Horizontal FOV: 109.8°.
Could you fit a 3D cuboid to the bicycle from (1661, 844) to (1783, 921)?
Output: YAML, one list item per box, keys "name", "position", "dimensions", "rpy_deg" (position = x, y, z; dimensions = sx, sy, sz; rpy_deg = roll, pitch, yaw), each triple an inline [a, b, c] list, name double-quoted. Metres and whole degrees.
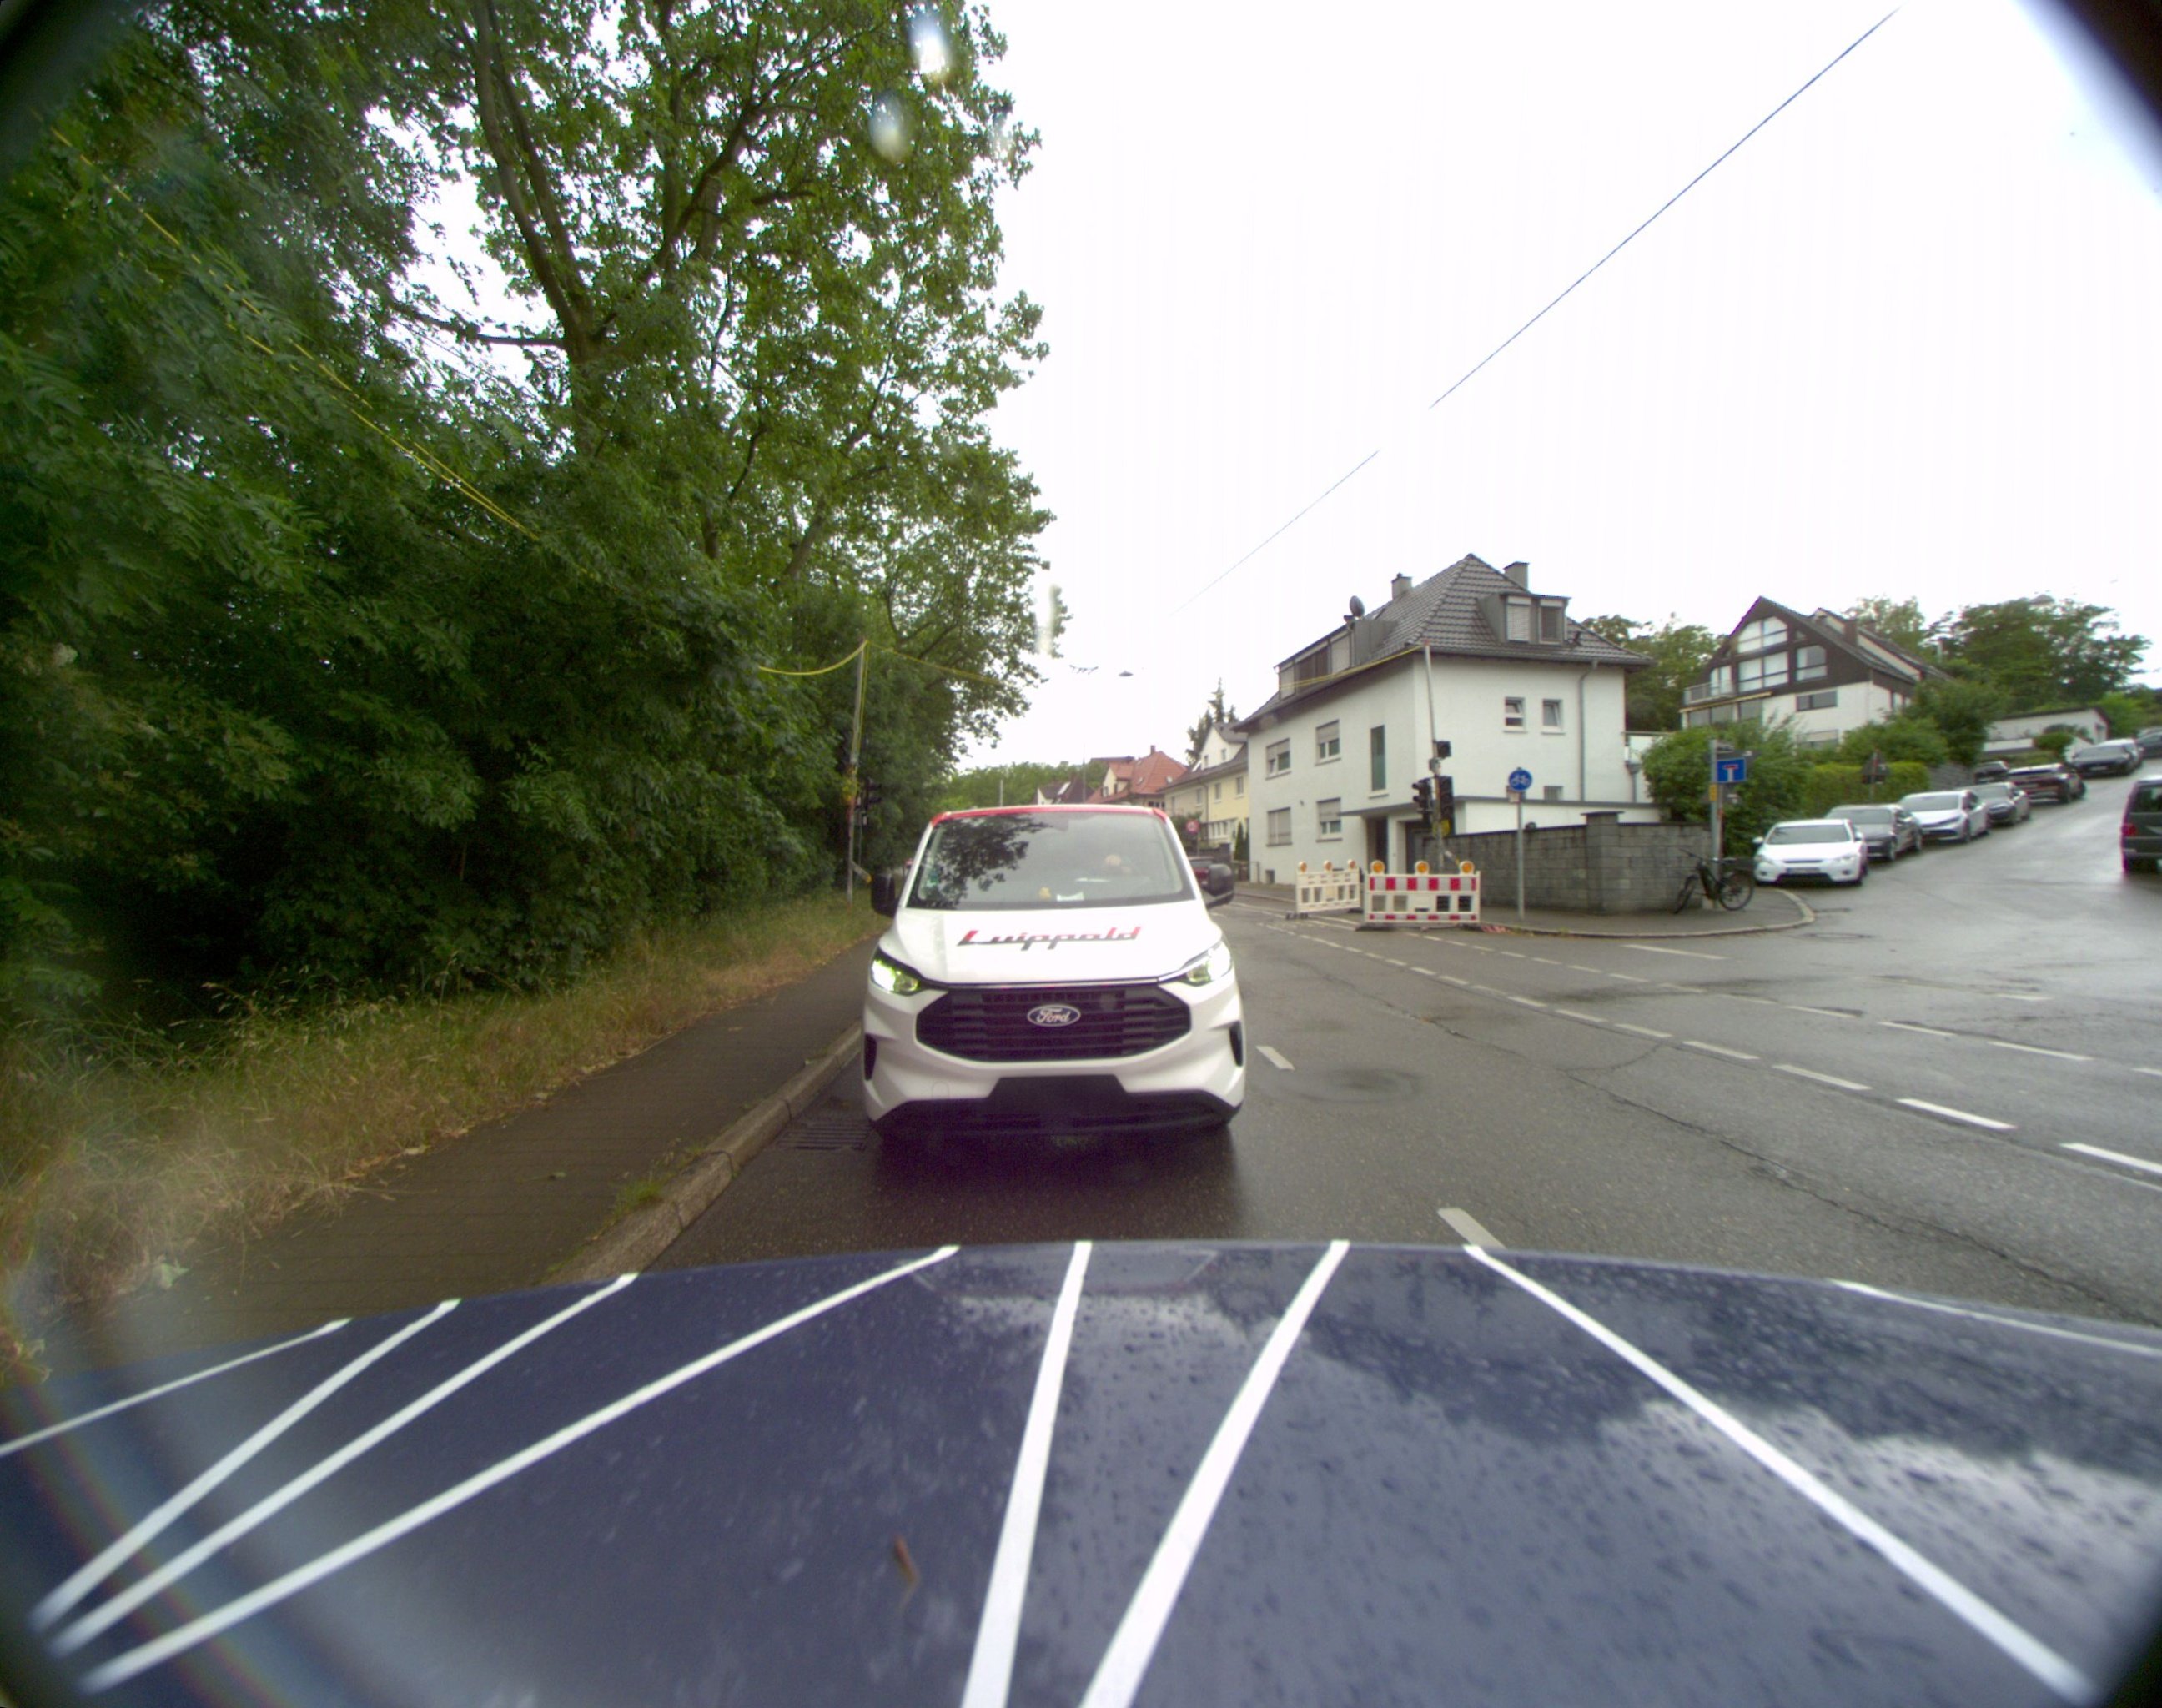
- name: "bicycle"
  position: [11.723, 0.509, 13.914]
  dimensions: [1.732, 1.304, 0.707]
  rpy_deg: [-2, 1, -7]

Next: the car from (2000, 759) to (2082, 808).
- name: "car"
  position: [40.539, -2.975, 32.058]
  dimensions: [3.988, 1.547, 1.333]
  rpy_deg: [-9, 3, -26]

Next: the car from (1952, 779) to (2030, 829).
- name: "car"
  position: [32.224, -1.793, 26.890]
  dimensions: [3.508, 1.383, 1.333]
  rpy_deg: [-8, 4, -32]

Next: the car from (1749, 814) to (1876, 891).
- name: "car"
  position: [17.587, -0.054, 18.225]
  dimensions: [3.566, 1.458, 1.746]
  rpy_deg: [-7, 2, -40]

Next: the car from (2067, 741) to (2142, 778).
- name: "car"
  position: [54.698, -5.055, 40.603]
  dimensions: [3.834, 1.492, 1.733]
  rpy_deg: [-9, 3, -26]

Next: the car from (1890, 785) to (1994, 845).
- name: "car"
  position: [27.259, -1.256, 24.024]
  dimensions: [3.859, 1.458, 1.579]
  rpy_deg: [-8, 4, -32]

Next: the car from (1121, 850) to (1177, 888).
- name: "car"
  position: [3.046, 0.708, 34.837]
  dimensions: [1.670, 1.579, 4.004]
  rpy_deg: [-3, -2, -8]

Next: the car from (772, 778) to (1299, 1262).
- name: "car"
  position: [-0.145, 0.647, 5.660]
  dimensions: [2.045, 1.883, 5.208]
  rpy_deg: [-2, 1, 1]

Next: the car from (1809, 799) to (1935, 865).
- name: "car"
  position: [22.513, -0.642, 21.596]
  dimensions: [3.859, 1.458, 1.700]
  rpy_deg: [-7, 2, -32]

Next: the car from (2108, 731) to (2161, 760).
- name: "car"
  position: [68.143, -6.963, 48.088]
  dimensions: [1.582, 1.492, 3.607]
  rpy_deg: [-10, 4, -34]

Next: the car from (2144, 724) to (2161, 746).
- name: "car"
  position: [81.261, -8.942, 55.748]
  dimensions: [1.624, 1.492, 3.514]
  rpy_deg: [-9, 3, -24]

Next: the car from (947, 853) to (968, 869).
- name: "car"
  position: [-15.347, 0.830, 94.039]
  dimensions: [2.001, 1.850, 4.354]
  rpy_deg: [-2, 1, -17]

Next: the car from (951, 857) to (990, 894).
- name: "car"
  position: [-5.269, 1.036, 36.371]
  dimensions: [1.670, 1.579, 4.004]
  rpy_deg: [-3, -2, -8]

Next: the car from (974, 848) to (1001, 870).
- name: "car"
  position: [-9.408, 0.498, 76.059]
  dimensions: [2.001, 2.002, 3.994]
  rpy_deg: [-2, 1, -17]

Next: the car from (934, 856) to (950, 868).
- name: "car"
  position: [-18.865, 1.026, 102.962]
  dimensions: [1.767, 1.519, 3.585]
  rpy_deg: [-2, 1, -17]

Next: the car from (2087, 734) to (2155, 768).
- name: "car"
  position: [60.717, -6.018, 44.354]
  dimensions: [3.834, 1.492, 1.733]
  rpy_deg: [-9, 3, -26]

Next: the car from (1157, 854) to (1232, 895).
- name: "car"
  position: [4.380, 0.826, 29.890]
  dimensions: [1.898, 1.485, 3.795]
  rpy_deg: [-1, -2, -8]

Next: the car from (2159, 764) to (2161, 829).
- name: "car"
  position: [32.931, -1.871, 21.885]
  dimensions: [3.416, 1.827, 1.917]
  rpy_deg: [-9, 3, -31]

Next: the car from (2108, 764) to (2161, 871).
- name: "car"
  position: [23.563, -0.874, 16.010]
  dimensions: [3.801, 1.926, 1.911]
  rpy_deg: [-9, 3, -31]
